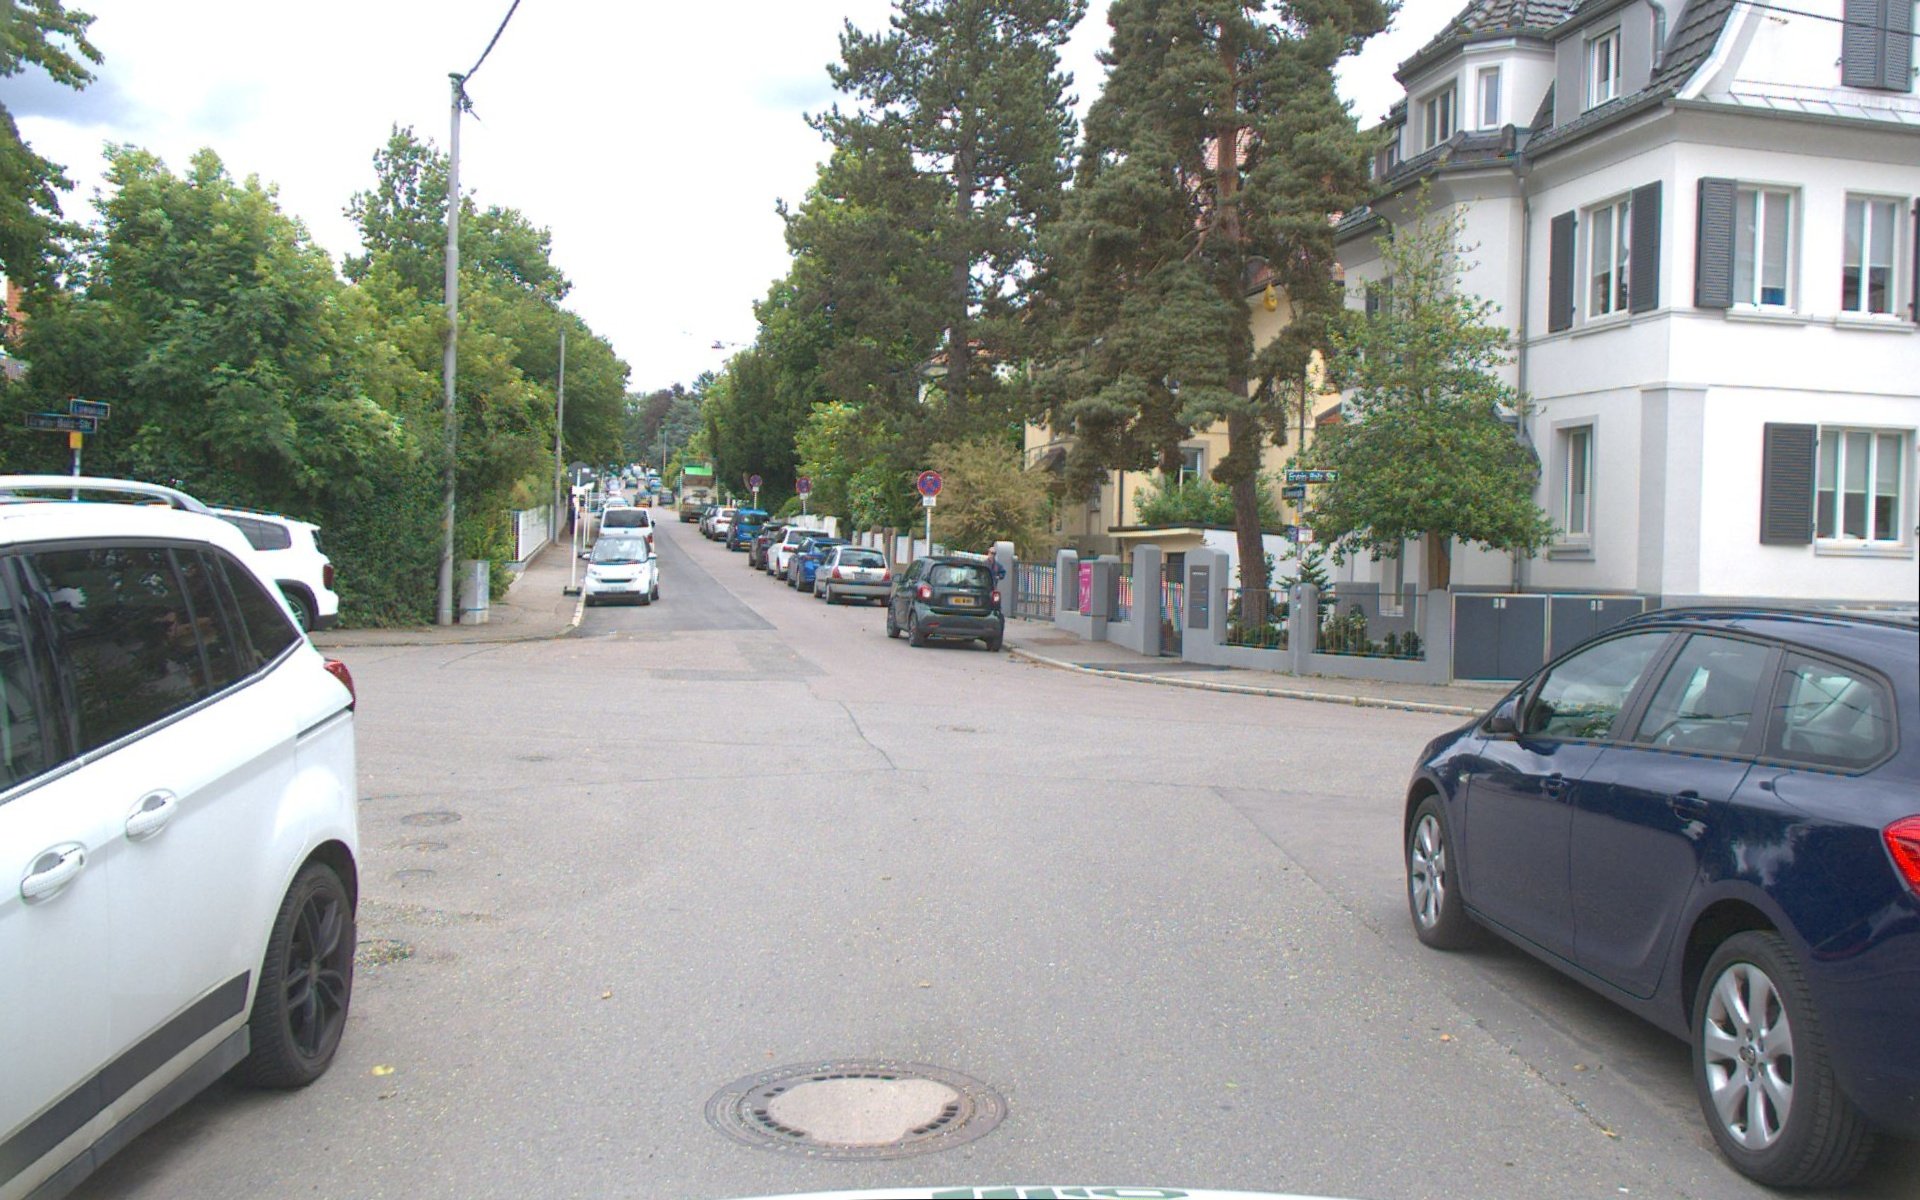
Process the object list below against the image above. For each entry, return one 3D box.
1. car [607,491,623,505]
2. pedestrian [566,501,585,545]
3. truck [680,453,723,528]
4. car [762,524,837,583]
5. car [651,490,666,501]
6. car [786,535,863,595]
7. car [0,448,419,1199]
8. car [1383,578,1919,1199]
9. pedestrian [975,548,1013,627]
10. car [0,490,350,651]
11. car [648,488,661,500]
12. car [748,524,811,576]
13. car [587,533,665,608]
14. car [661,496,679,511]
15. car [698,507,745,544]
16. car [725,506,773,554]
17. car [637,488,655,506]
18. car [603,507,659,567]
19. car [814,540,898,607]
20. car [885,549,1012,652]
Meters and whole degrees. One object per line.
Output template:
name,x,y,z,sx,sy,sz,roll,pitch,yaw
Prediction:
car,-41.285,-12.214,197.907,1.680,1.613,3.993,2,3,-9
pedestrian,-18.423,-3.705,79.230,0.797,2.048,0.858,2,3,-12
truck,-17.683,-7.456,112.886,2.480,4.829,7.170,2,3,-11
car,-5.151,-1.518,52.760,1.754,1.630,4.292,3,3,-13
car,-40.756,-14.102,223.420,1.779,1.358,3.623,3,4,-13
car,-3.859,-1.029,46.572,1.618,1.483,4.041,3,2,-12
car,-2.560,0.559,3.130,1.768,1.688,4.151,1,2,-1
car,2.955,0.729,5.546,1.782,1.511,4.285,2,1,-3
pedestrian,0.696,-0.266,34.340,0.668,1.604,0.905,-1,1,-6
car,-9.810,-0.339,19.572,1.802,1.684,4.488,5,1,41
car,-42.835,-14.935,232.013,1.757,1.555,3.726,2,4,-11
car,-6.410,-1.795,58.316,1.719,1.635,4.065,3,2,-12
car,-7.731,-0.710,38.471,1.414,1.578,2.768,-1,4,-5
car,-31.776,-10.616,181.062,1.748,1.514,3.989,1,4,-13
car,-11.985,-3.766,82.844,1.729,1.633,4.558,2,3,-16
car,-9.279,-3.109,72.552,1.653,1.860,4.146,3,3,-13
car,-32.328,-10.639,170.272,1.605,1.730,3.485,2,4,-13
car,-11.426,-2.230,57.383,1.822,1.946,4.608,-1,3,-12
car,-2.653,-0.698,41.575,1.546,1.424,3.646,3,3,-12
car,-0.249,-0.027,29.556,1.545,1.558,2.858,4,3,-15
